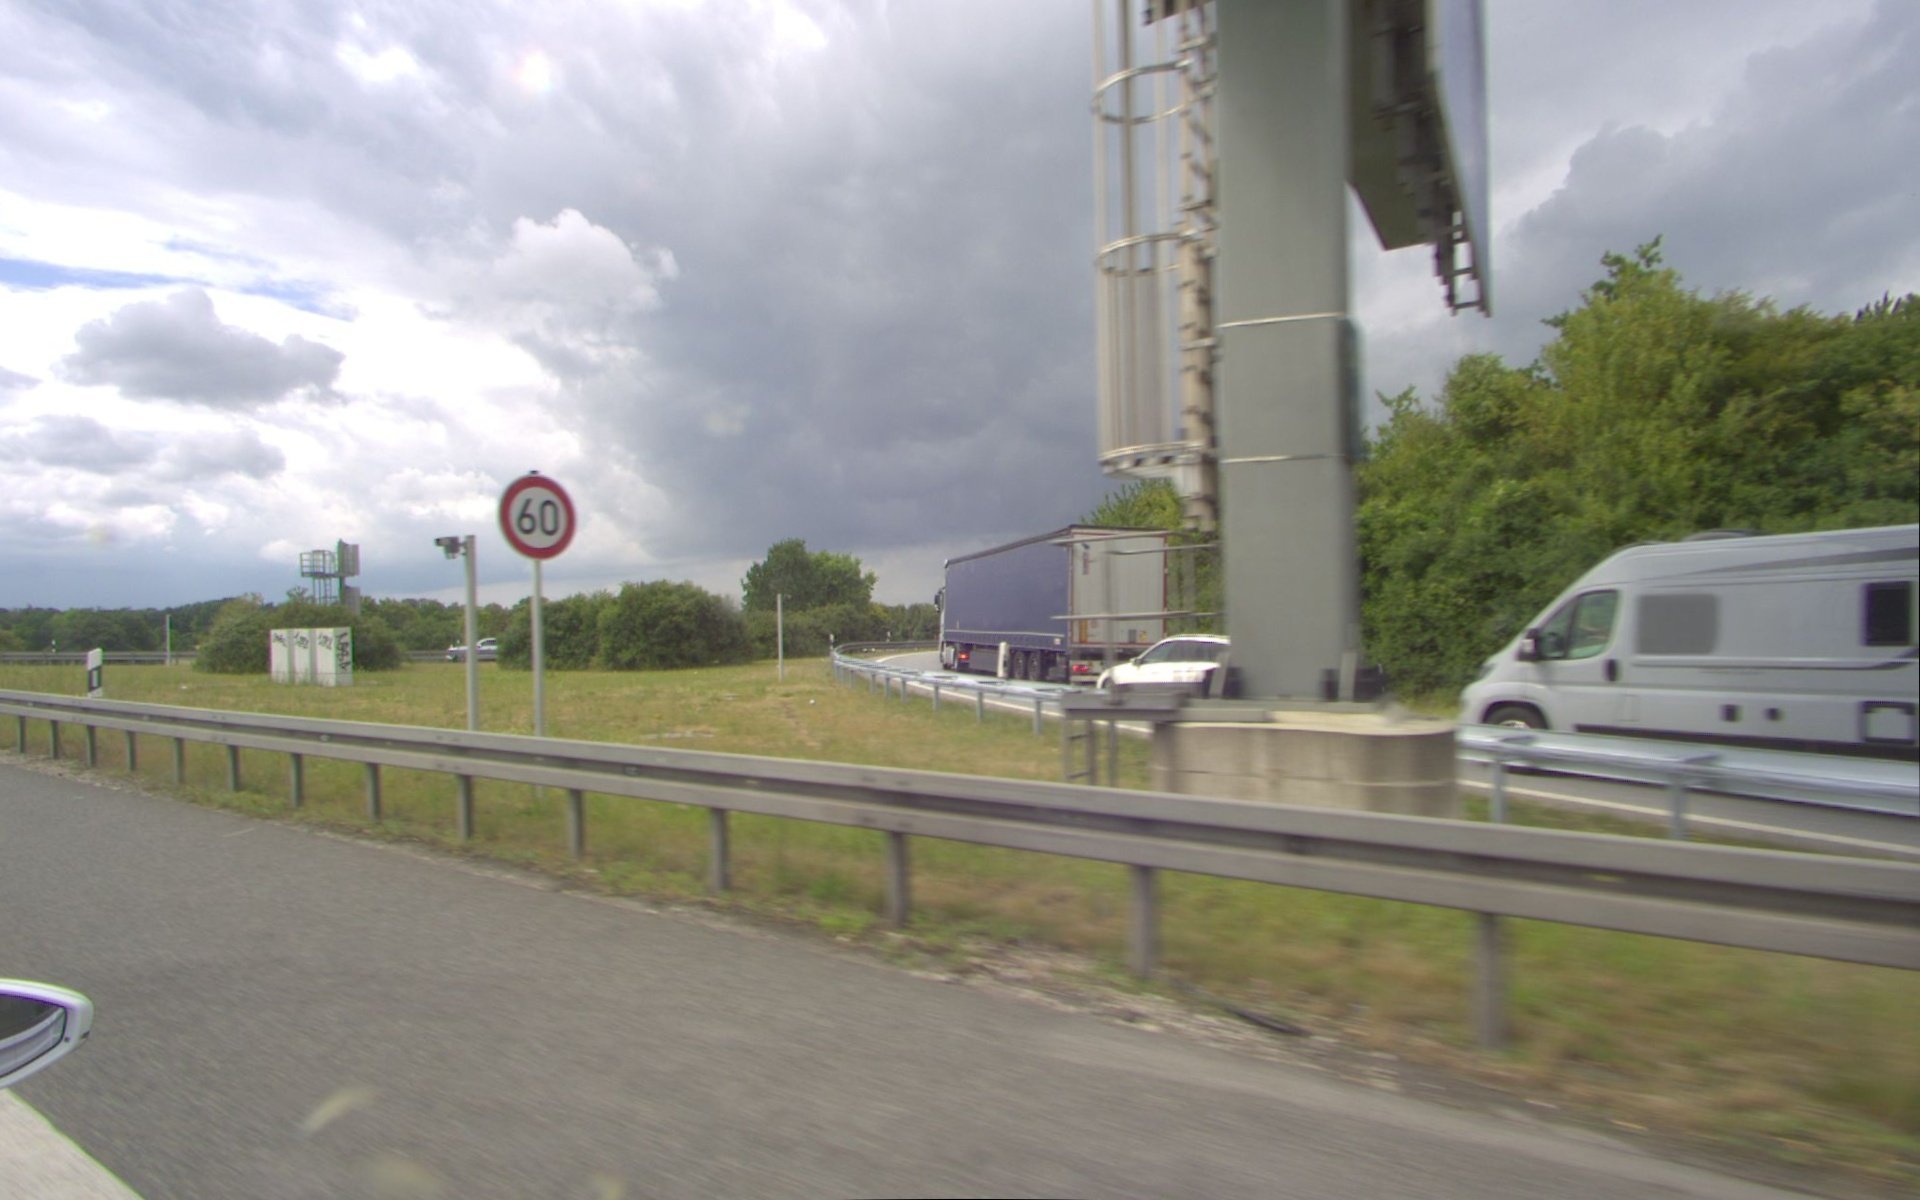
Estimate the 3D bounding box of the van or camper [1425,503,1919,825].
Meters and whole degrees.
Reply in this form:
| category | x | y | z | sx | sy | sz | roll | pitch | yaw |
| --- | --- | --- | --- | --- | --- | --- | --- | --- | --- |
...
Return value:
| category | x | y | z | sx | sy | sz | roll | pitch | yaw |
| --- | --- | --- | --- | --- | --- | --- | --- | --- | --- |
| van or camper | 8.034 | 0.556 | 9.819 | 2.269 | 2.601 | 6.128 | 0 | -1 | -30 |

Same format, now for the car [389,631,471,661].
| category | x | y | z | sx | sy | sz | roll | pitch | yaw |
| --- | --- | --- | --- | --- | --- | --- | --- | --- | --- |
| car | -31.071 | 2.690 | 58.879 | 4.143 | 1.706 | 1.936 | 1 | -2 | -25 |

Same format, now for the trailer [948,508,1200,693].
| category | x | y | z | sx | sy | sz | roll | pitch | yaw |
| --- | --- | --- | --- | --- | --- | --- | --- | --- | --- |
| trailer | 2.643 | 0.224 | 29.753 | 3.280 | 4.246 | 13.021 | 0 | -2 | -13 |

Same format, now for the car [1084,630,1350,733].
| category | x | y | z | sx | sy | sz | roll | pitch | yaw |
| --- | --- | --- | --- | --- | --- | --- | --- | --- | --- |
| car | 4.313 | 1.307 | 17.732 | 2.177 | 1.520 | 4.774 | 0 | -1 | -22 |

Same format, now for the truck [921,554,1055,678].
| category | x | y | z | sx | sy | sz | roll | pitch | yaw |
| --- | --- | --- | --- | --- | --- | --- | --- | --- | --- |
| truck | 0.851 | 0.658 | 37.101 | 3.309 | 4.147 | 6.783 | 0 | -2 | -14 |
